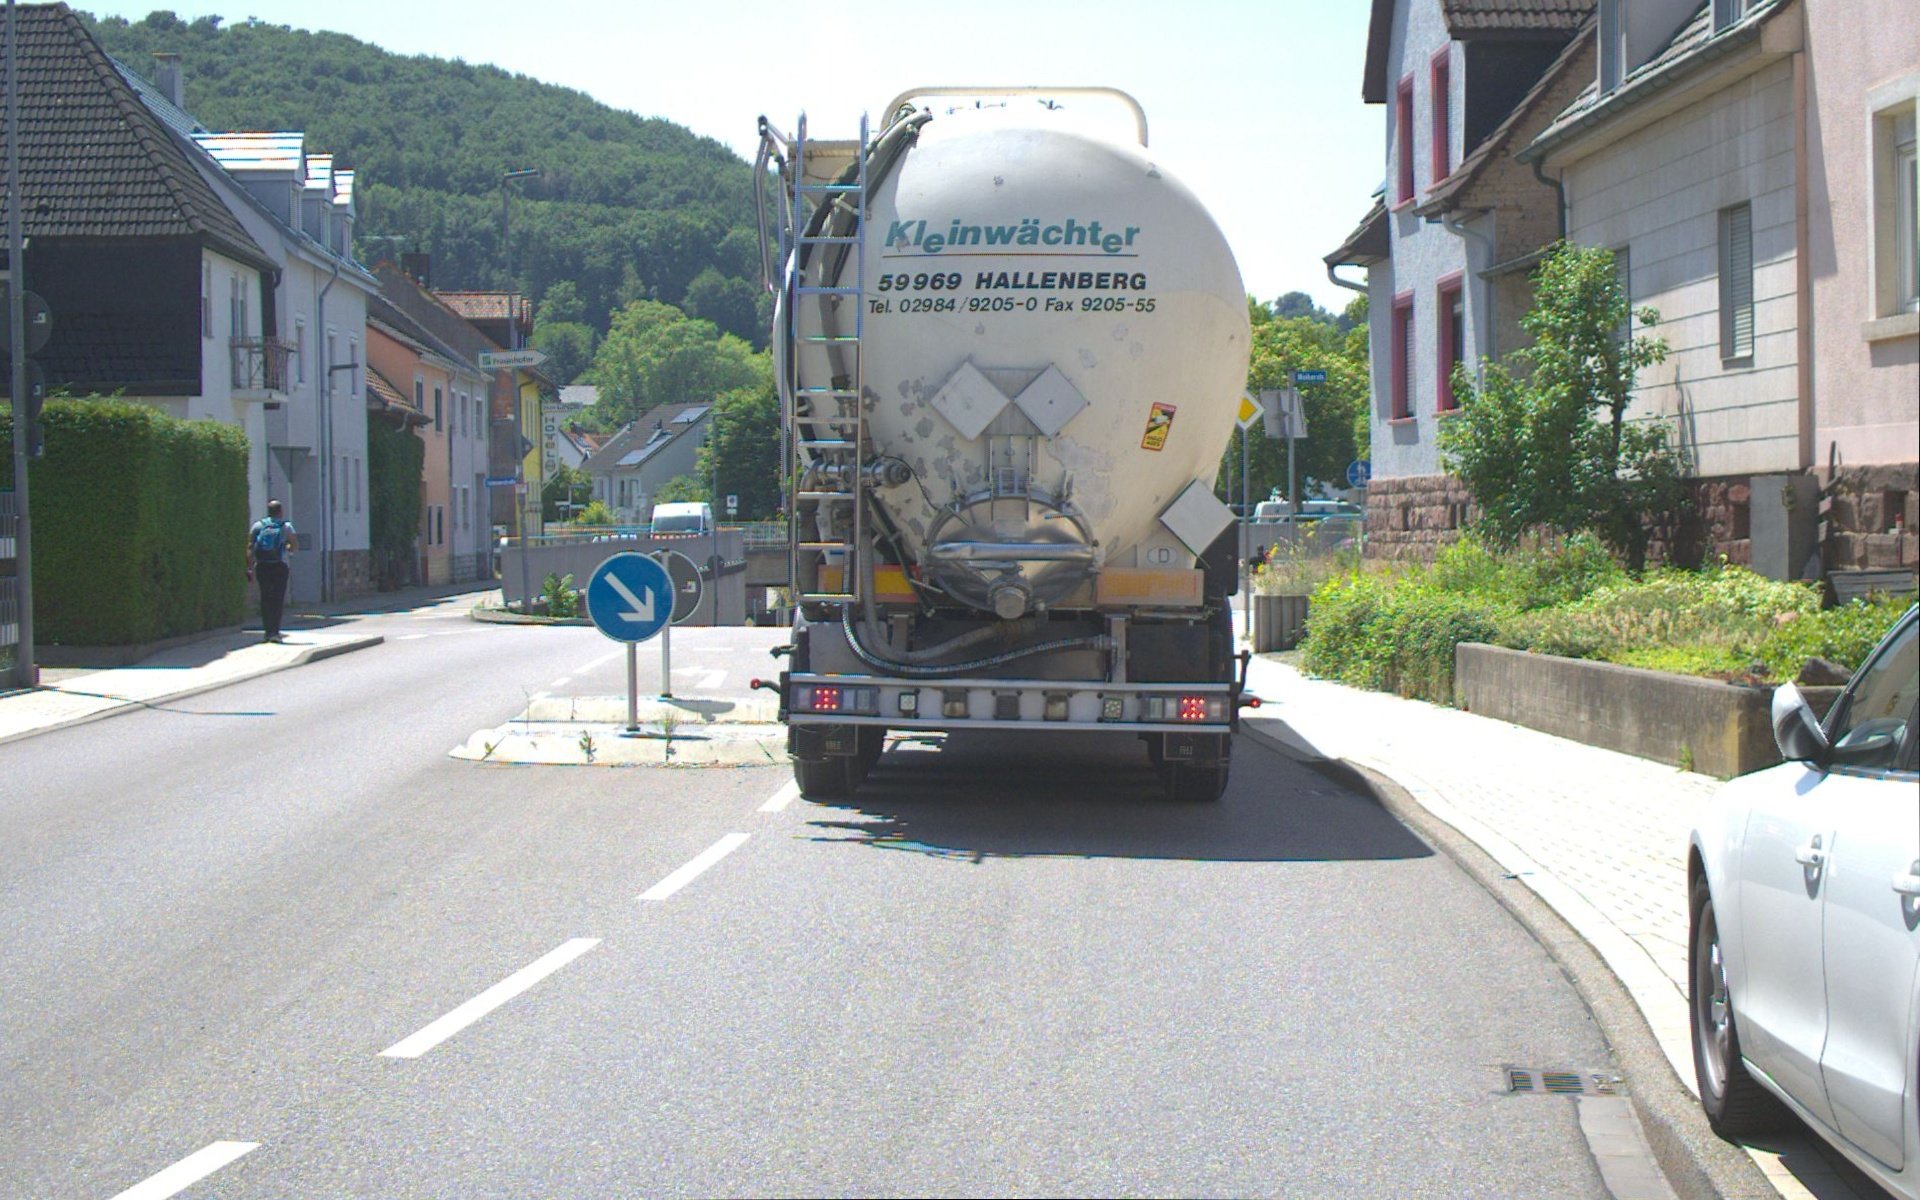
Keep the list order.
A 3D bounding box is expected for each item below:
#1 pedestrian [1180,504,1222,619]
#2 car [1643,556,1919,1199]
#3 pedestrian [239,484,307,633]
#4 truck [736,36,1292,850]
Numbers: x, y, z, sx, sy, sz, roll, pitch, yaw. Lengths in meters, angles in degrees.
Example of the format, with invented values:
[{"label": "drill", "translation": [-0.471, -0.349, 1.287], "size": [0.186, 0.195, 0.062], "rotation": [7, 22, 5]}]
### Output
[{"label": "pedestrian", "translation": [3.580, -0.569, 51.079], "size": [0.571, 1.688, 0.721], "rotation": [1, 0, 2]}, {"label": "car", "translation": [2.486, 0.599, 6.600], "size": [1.756, 1.413, 4.632], "rotation": [-2, 0, 5]}, {"label": "pedestrian", "translation": [-8.520, -0.511, 42.653], "size": [0.712, 1.817, 0.899], "rotation": [1, 0, -6]}, {"label": "truck", "translation": [-0.016, -0.890, 22.624], "size": [2.750, 4.043, 10.891], "rotation": [0, 1, -3]}]
